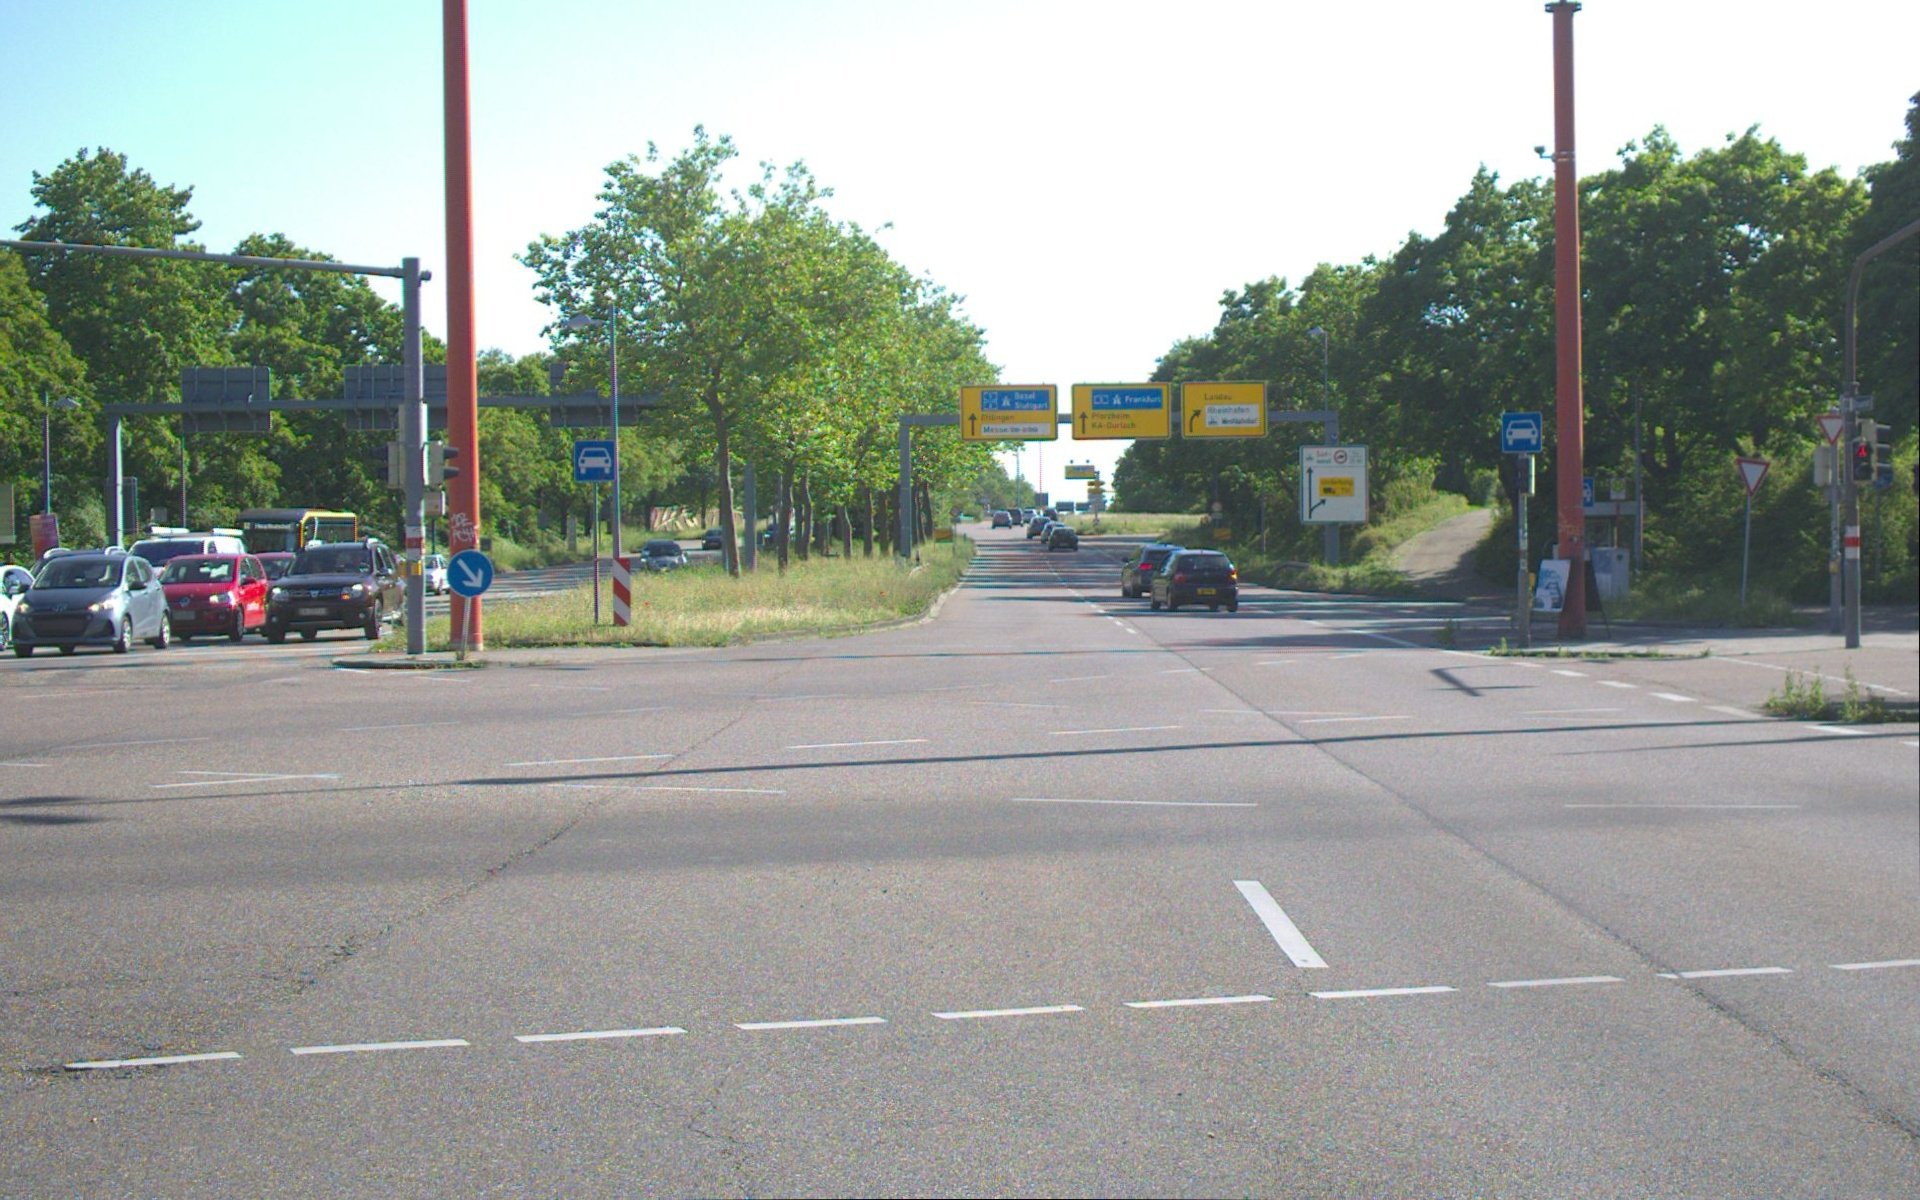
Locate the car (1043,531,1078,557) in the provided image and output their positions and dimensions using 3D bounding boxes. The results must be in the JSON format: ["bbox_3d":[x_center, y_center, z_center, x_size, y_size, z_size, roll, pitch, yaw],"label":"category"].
[{"bbox_3d":[6.251,-3.498,214.152,2.159,1.568,4.281,-1,1,1],"label":"car"}]

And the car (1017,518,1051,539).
[{"bbox_3d":[5.573,-5.378,260.234,2.158,1.568,4.281,-1,1,-4],"label":"car"}]

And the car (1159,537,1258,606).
[{"bbox_3d":[5.830,-0.691,81.201,2.159,1.568,4.281,-1,1,2],"label":"car"}]

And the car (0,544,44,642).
[{"bbox_3d":[-16.490,-0.122,57.038,1.993,1.568,4.122,-2,1,-8],"label":"car"}]

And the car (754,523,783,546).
[{"bbox_3d":[-13.346,-4.552,239.351,1.876,1.568,4.121,-1,1,-5],"label":"car"}]

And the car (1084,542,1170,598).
[{"bbox_3d":[4.782,-0.877,99.021,2.159,1.568,4.583,-1,1,-1],"label":"car"}]

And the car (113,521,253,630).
[{"bbox_3d":[-16.117,-0.534,71.511,2.062,2.185,4.379,-1,1,-2],"label":"car"}]

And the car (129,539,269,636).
[{"bbox_3d":[-12.900,-0.240,58.471,1.993,1.568,4.122,-1,1,-8],"label":"car"}]

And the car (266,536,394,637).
[{"bbox_3d":[-10.249,-0.249,56.150,1.876,1.568,4.122,-1,1,-8],"label":"car"}]

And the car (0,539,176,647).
[{"bbox_3d":[-13.254,-0.136,52.169,1.993,1.568,4.121,-1,1,-3],"label":"car"}]

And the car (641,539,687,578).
[{"bbox_3d":[-12.361,-1.730,143.621,1.876,1.568,4.121,-1,1,-5],"label":"car"}]

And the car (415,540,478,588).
[{"bbox_3d":[-17.538,-1.243,117.529,1.876,1.568,3.948,-1,1,-5],"label":"car"}]

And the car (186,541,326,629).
[{"bbox_3d":[-13.118,-0.301,64.250,1.993,1.568,4.121,-1,1,-4],"label":"car"}]
